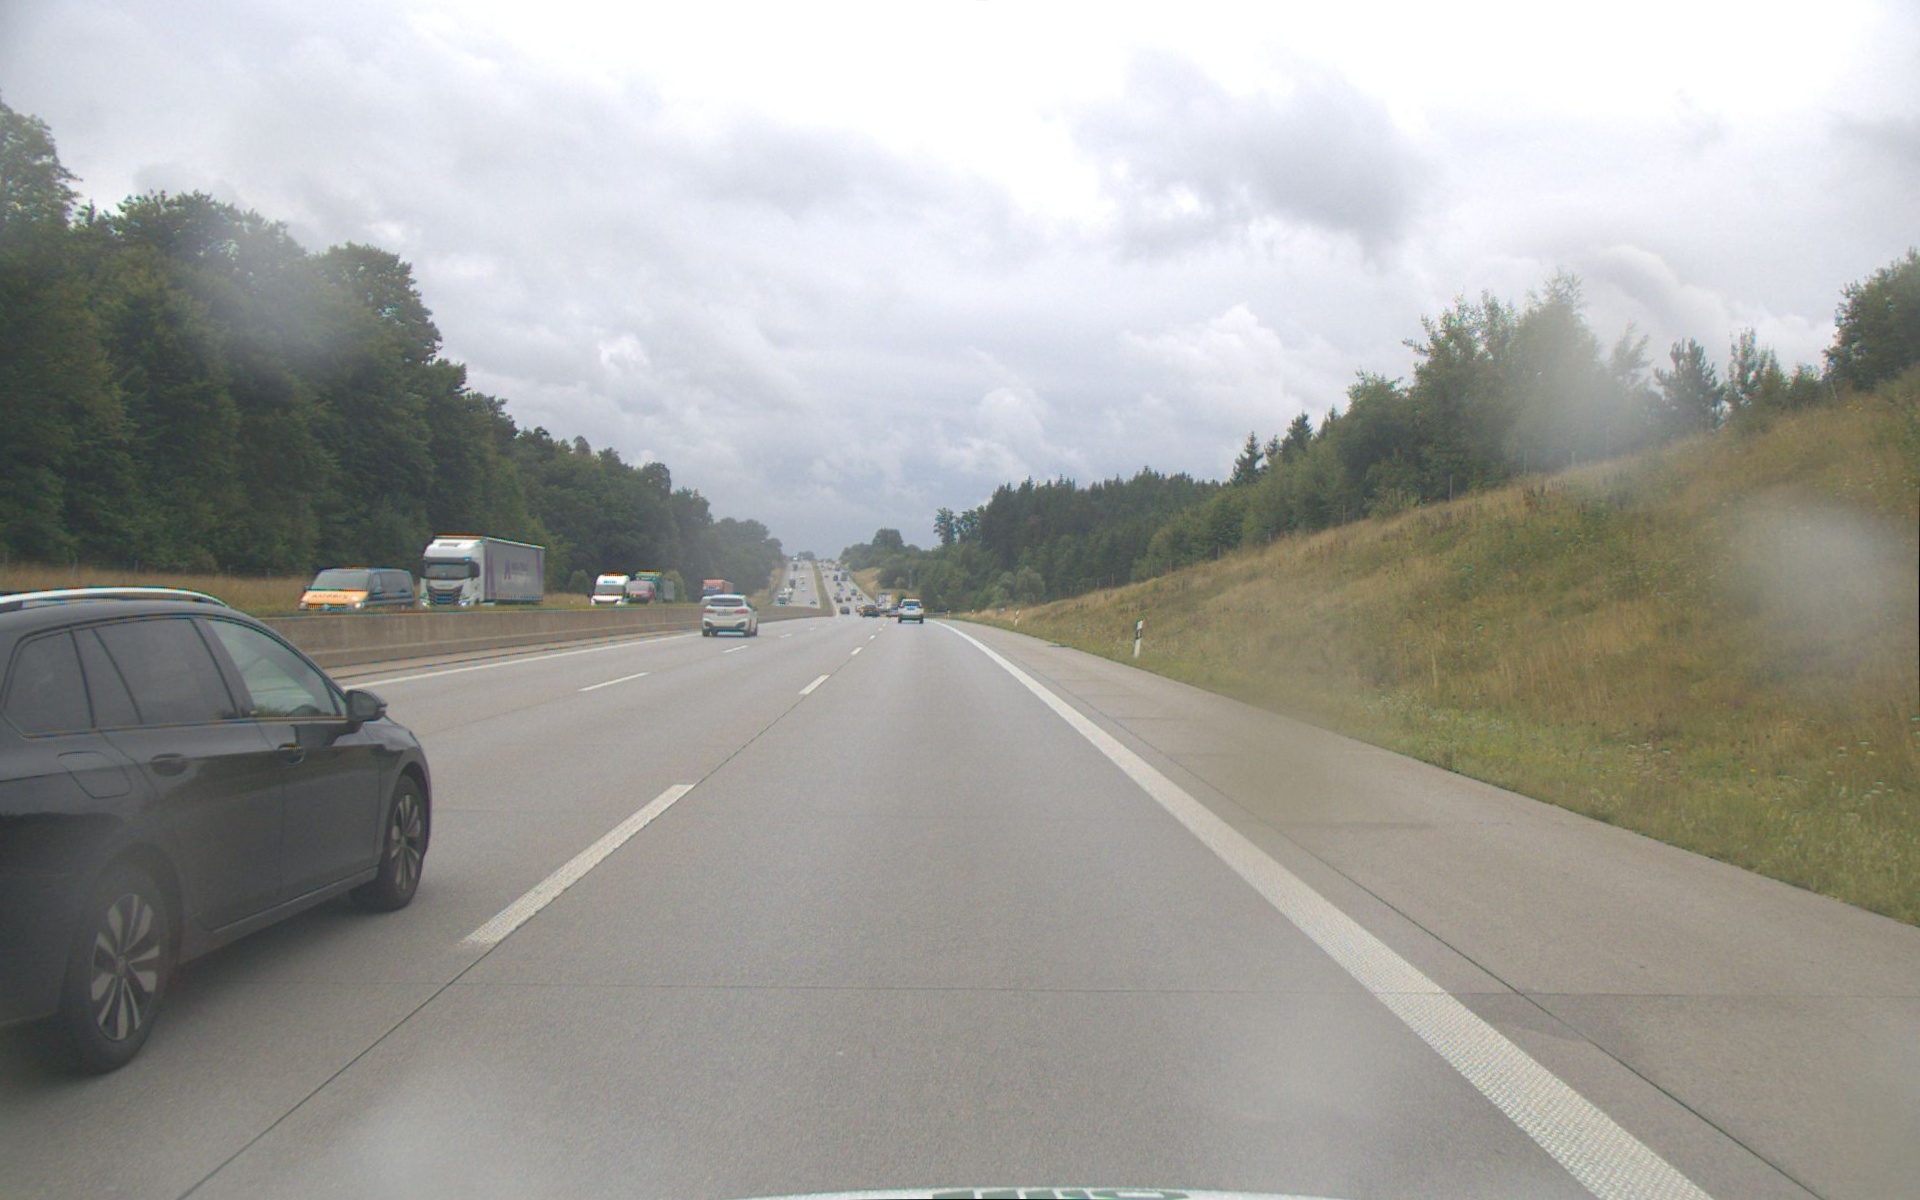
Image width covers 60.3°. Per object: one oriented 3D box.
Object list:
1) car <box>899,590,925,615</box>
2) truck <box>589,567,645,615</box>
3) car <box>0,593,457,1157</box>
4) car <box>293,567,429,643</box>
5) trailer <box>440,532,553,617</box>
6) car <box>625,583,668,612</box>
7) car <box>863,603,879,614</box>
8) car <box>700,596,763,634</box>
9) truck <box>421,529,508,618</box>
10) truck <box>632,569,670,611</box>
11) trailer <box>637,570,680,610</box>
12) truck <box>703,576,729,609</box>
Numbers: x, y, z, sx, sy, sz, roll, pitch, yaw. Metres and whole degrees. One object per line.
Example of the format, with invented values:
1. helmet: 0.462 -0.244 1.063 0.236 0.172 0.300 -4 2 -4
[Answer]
1. car: -3.414 0.145 117.260 1.789 1.684 3.983 1 0 -2
2. truck: -21.207 -0.564 102.532 2.222 2.837 6.510 2 0 -1
3. car: -3.368 0.709 6.048 1.717 1.422 4.483 2 0 -1
4. car: -17.280 0.144 48.027 2.020 2.049 5.425 1 0 -1
5. trailer: -24.777 -1.270 89.314 2.447 4.175 13.971 1 0 -1
6. car: -21.323 -0.169 112.718 1.953 1.915 5.312 1 0 0
7. car: -11.859 1.082 219.975 1.897 1.399 4.590 1 0 -5
8. car: -8.618 0.547 62.635 1.908 1.379 4.258 1 0 -2
9. truck: -24.592 -1.255 82.323 2.458 4.198 6.459 1 0 -1
10. truck: -28.849 -0.947 154.587 2.724 3.806 5.657 1 0 -3
11. trailer: -29.069 -0.952 159.739 2.748 3.765 9.007 1 0 -3
12. truck: -29.898 -0.930 202.858 2.502 3.996 6.943 1 0 -3
